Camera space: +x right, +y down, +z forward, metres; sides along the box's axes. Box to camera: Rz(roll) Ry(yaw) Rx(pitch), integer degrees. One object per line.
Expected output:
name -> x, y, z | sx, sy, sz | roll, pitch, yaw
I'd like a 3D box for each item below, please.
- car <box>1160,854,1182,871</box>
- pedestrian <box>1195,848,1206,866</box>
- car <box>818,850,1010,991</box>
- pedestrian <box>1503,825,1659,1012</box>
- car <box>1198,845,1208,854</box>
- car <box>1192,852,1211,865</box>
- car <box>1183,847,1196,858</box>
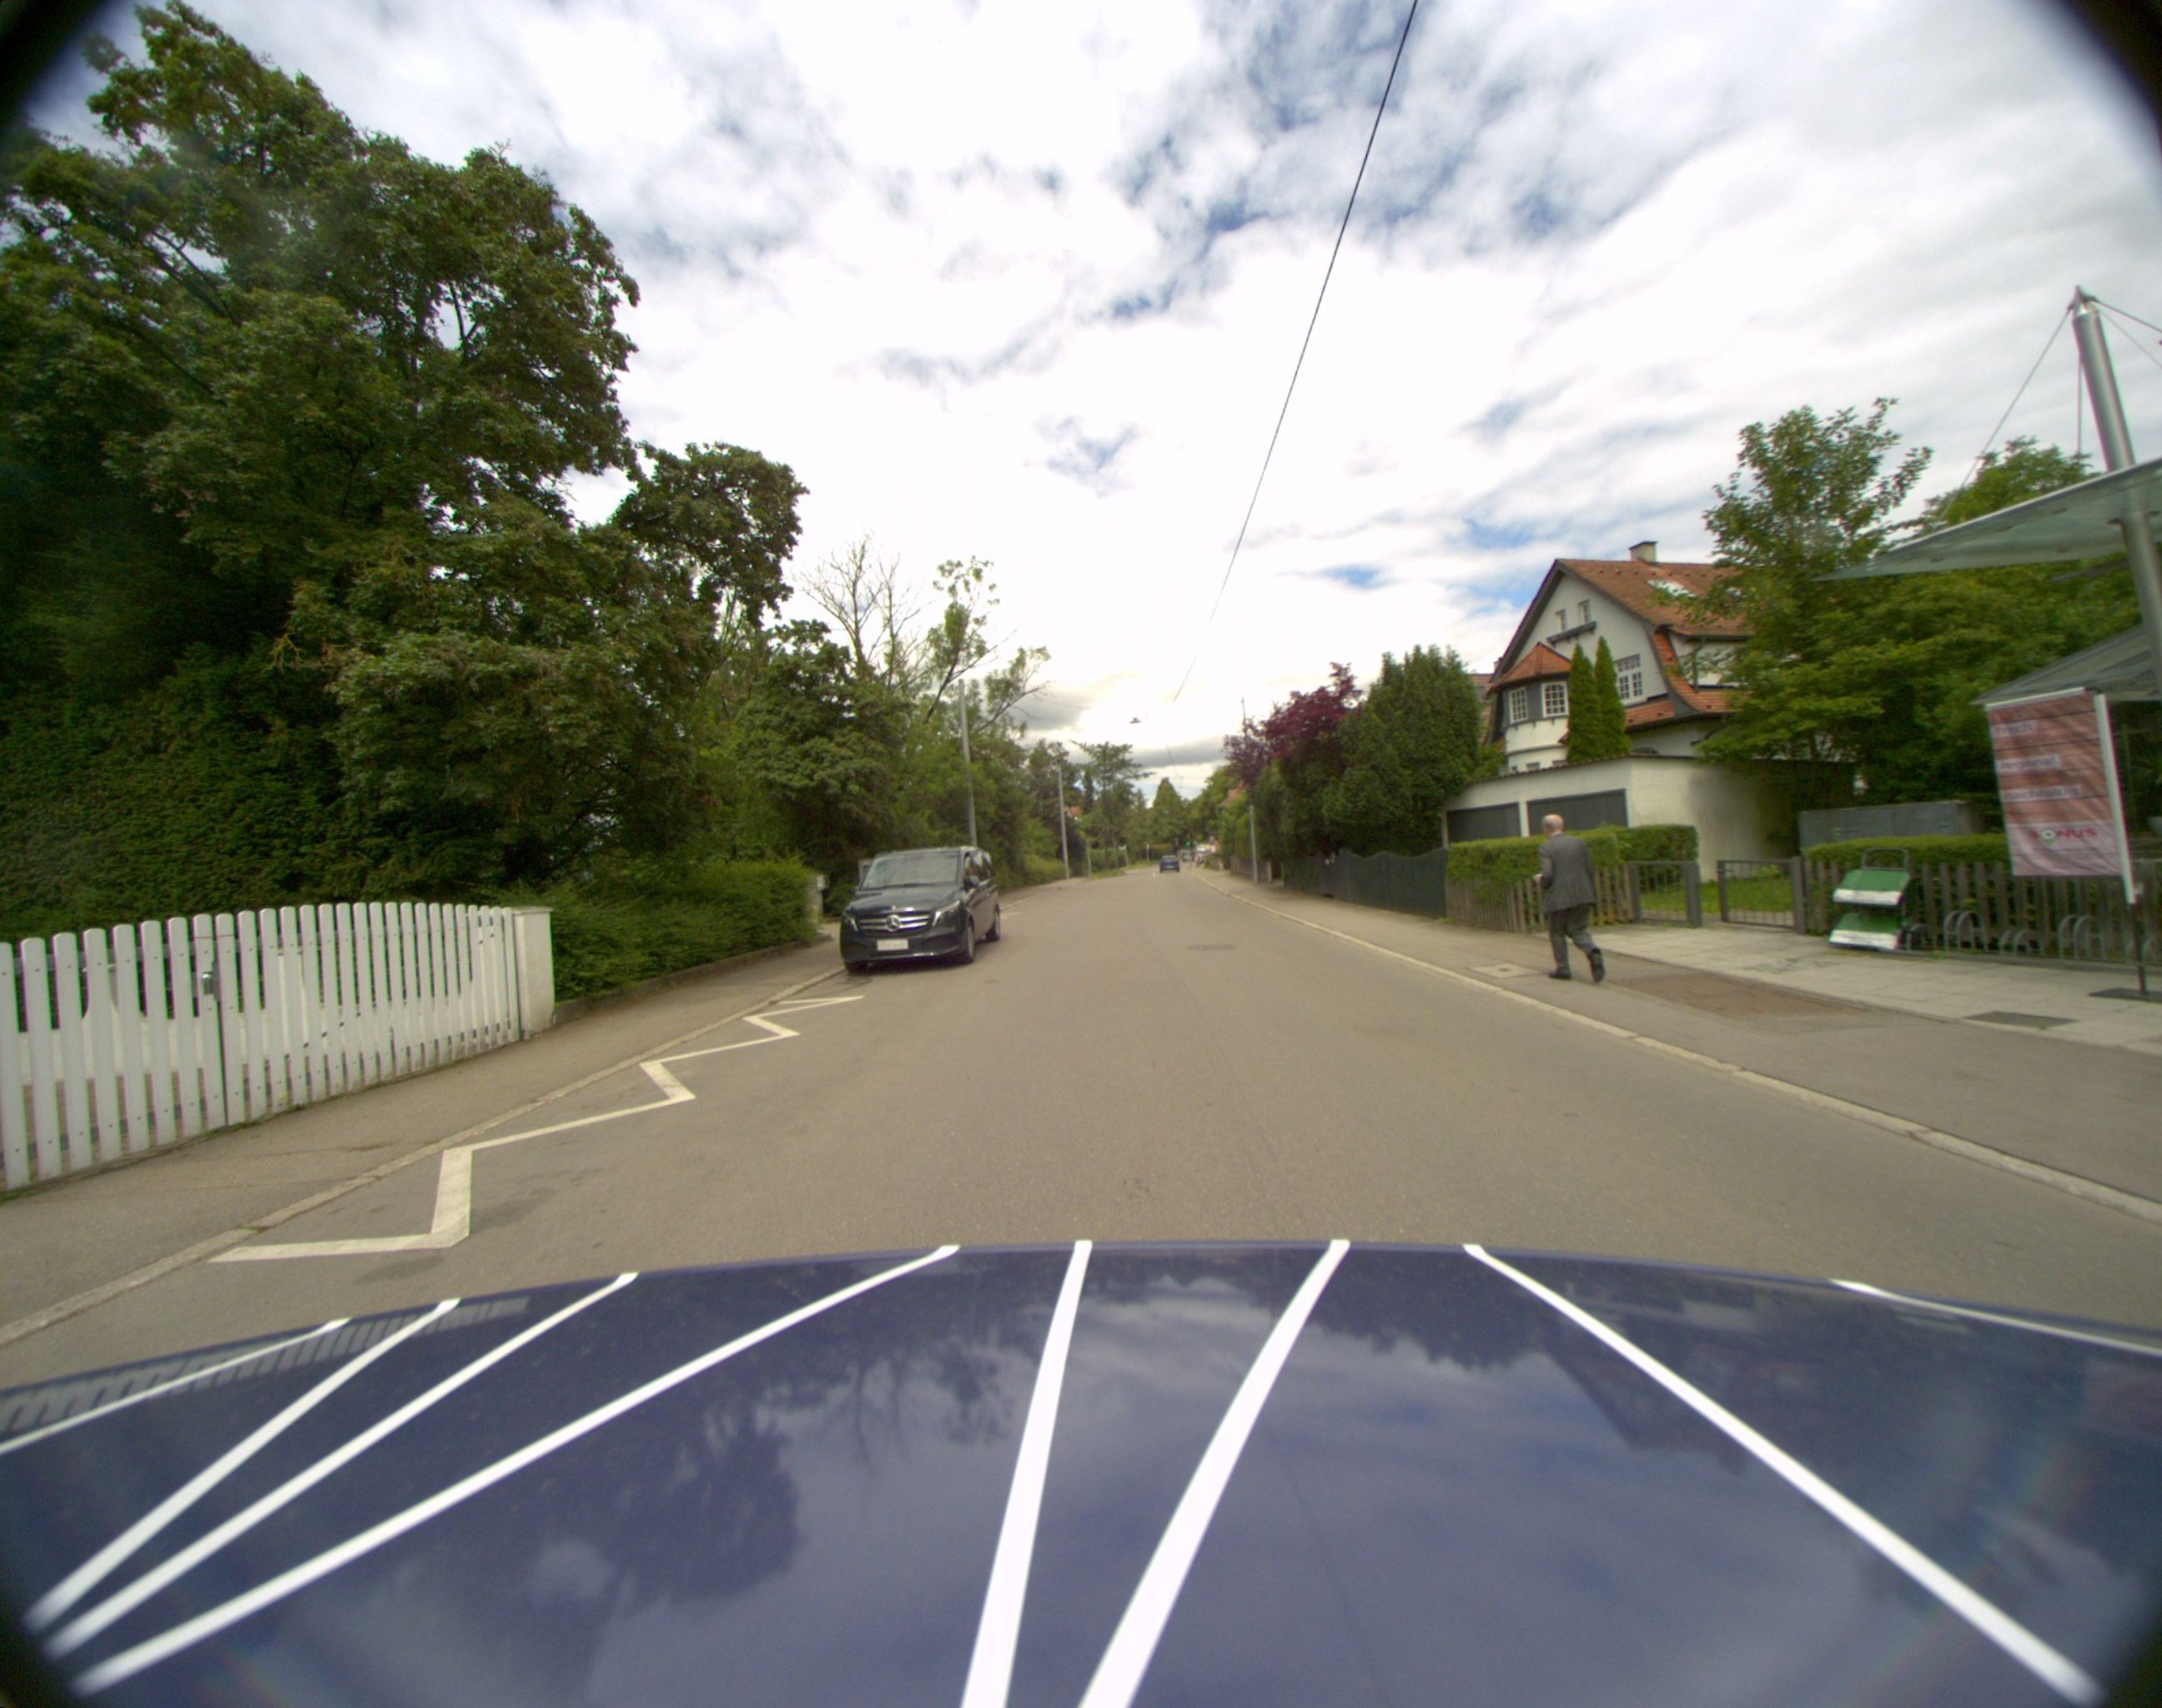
car -> 8.062, 0.728, 67.624 | 1.697, 1.423, 3.930 | -3, 0, 10
pedestrian -> 11.804, 0.288, 75.104 | 0.821, 1.734, 0.604 | -6, 1, 8
car -> -2.553, 0.913, 13.098 | 1.914, 1.837, 5.158 | -4, 0, 2
pedestrian -> 4.966, 0.599, 7.633 | 0.724, 1.677, 1.109 | -6, 1, 2
car -> 27.565, -1.056, 171.854 | 1.998, 1.686, 4.001 | -6, 0, 7
car -> 15.449, 0.588, 97.066 | 1.821, 1.343, 3.395 | -6, 0, 18
car -> 17.587, -0.277, 123.464 | 1.844, 1.646, 4.139 | -1, 1, 5
